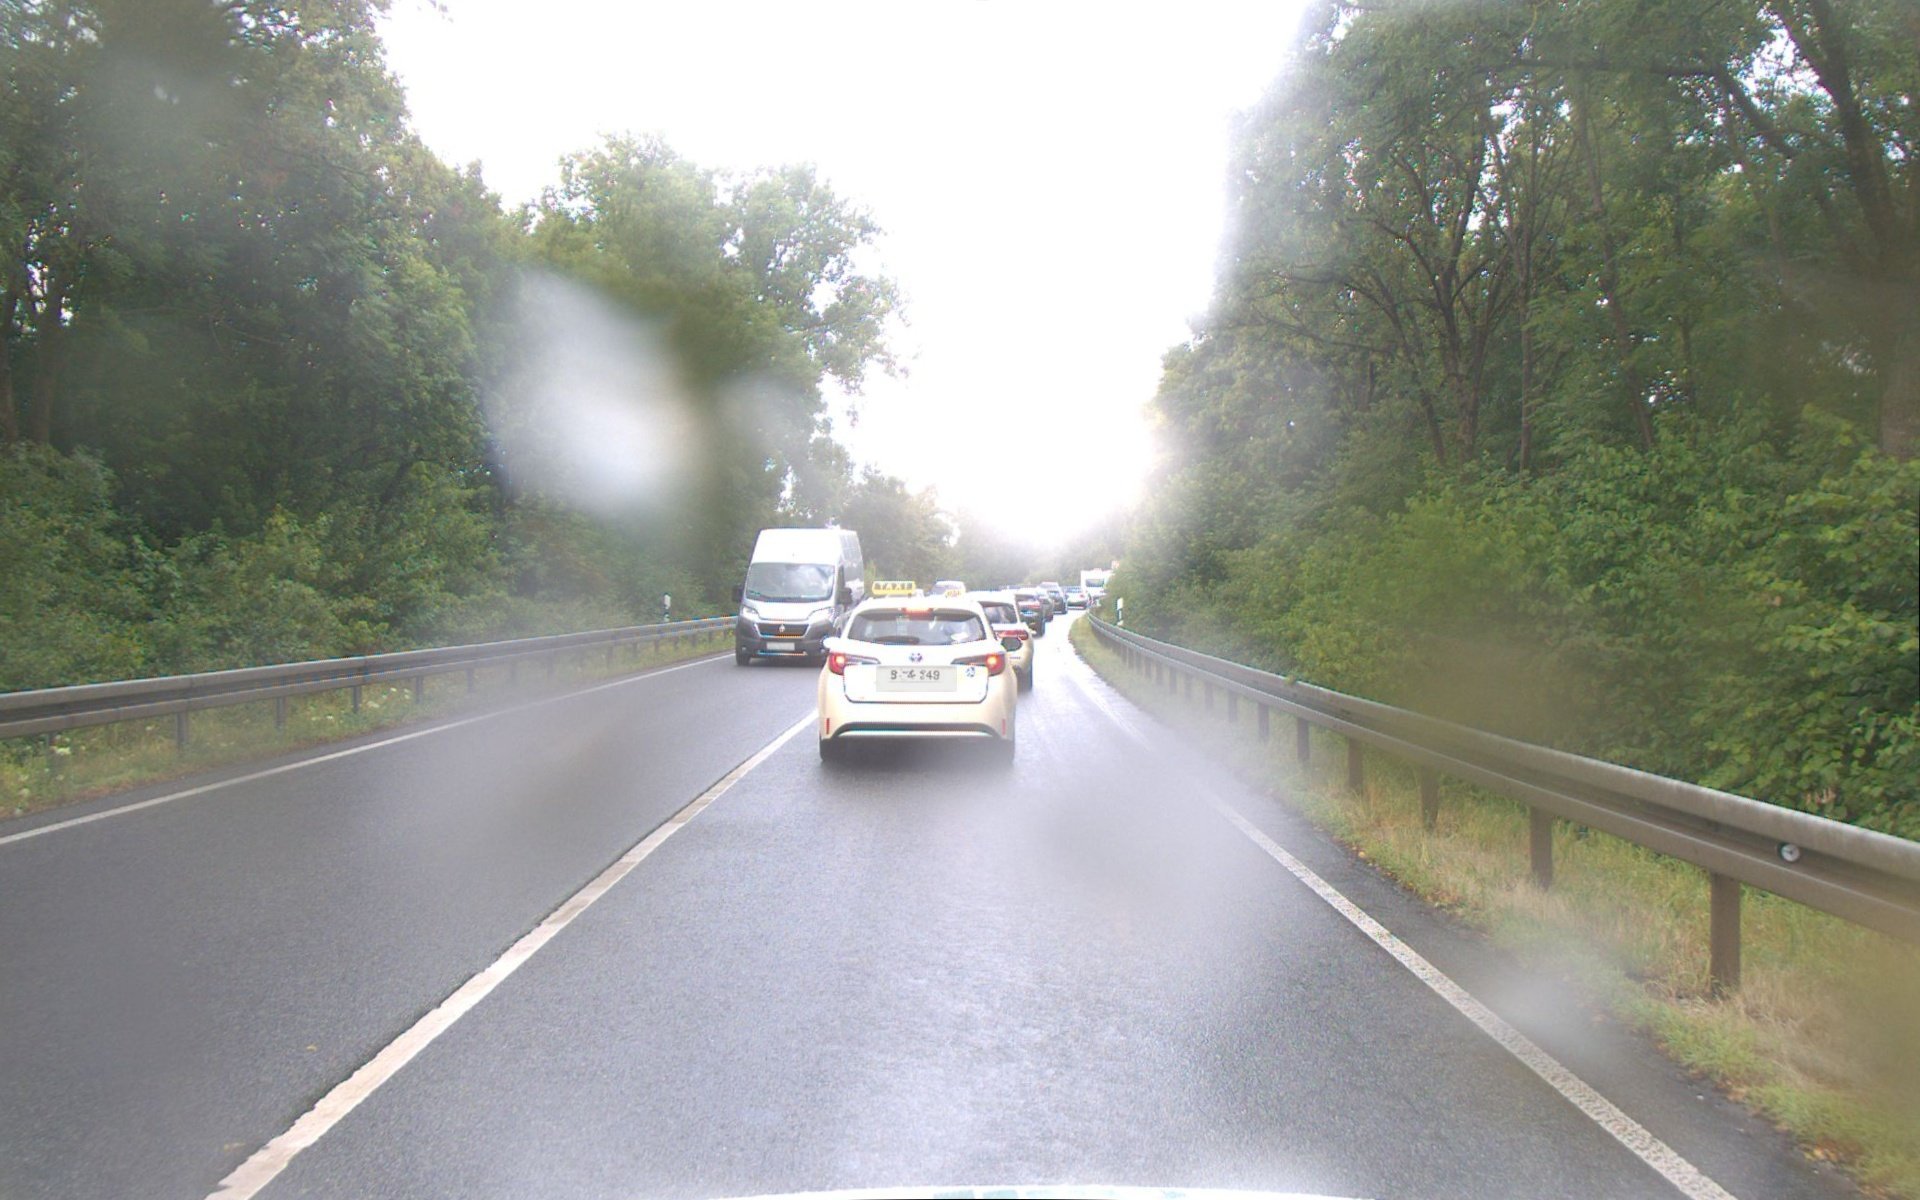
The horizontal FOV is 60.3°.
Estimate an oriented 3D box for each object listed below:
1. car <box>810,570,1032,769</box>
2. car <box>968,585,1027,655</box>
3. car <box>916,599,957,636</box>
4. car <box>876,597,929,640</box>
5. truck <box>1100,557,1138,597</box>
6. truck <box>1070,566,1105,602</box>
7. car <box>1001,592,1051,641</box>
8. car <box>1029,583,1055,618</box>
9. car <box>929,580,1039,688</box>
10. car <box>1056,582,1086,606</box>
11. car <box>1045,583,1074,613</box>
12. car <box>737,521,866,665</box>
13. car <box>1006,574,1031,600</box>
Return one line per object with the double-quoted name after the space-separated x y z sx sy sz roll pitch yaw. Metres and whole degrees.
-0.266 0.583 15.680 1.796 1.608 4.157 1 0 1 "car"
0.871 0.467 39.480 1.274 1.574 3.259 1 0 0 "car"
-1.125 0.840 81.024 1.777 1.715 4.623 1 0 1 "car"
-2.029 0.647 59.230 1.692 1.456 3.850 1 0 1 "car"
15.836 -2.256 164.554 3.041 3.745 7.006 1 0 11 "truck"
10.455 -1.256 135.877 2.497 2.760 7.537 1 0 2 "truck"
2.186 0.569 55.590 1.578 1.574 3.814 0 -1 1 "car"
3.778 0.026 75.866 1.142 1.574 2.605 1 0 3 "car"
0.407 0.528 26.920 1.633 1.608 3.892 1 0 1 "car"
7.568 -0.416 112.584 1.732 1.574 3.817 1 0 8 "car"
5.648 -0.116 93.641 1.582 1.641 3.623 1 0 3 "car"
-3.198 -0.113 34.603 2.005 2.723 6.172 0 0 1 "car"
4.809 -1.064 135.428 1.952 2.049 4.001 1 0 3 "car"
